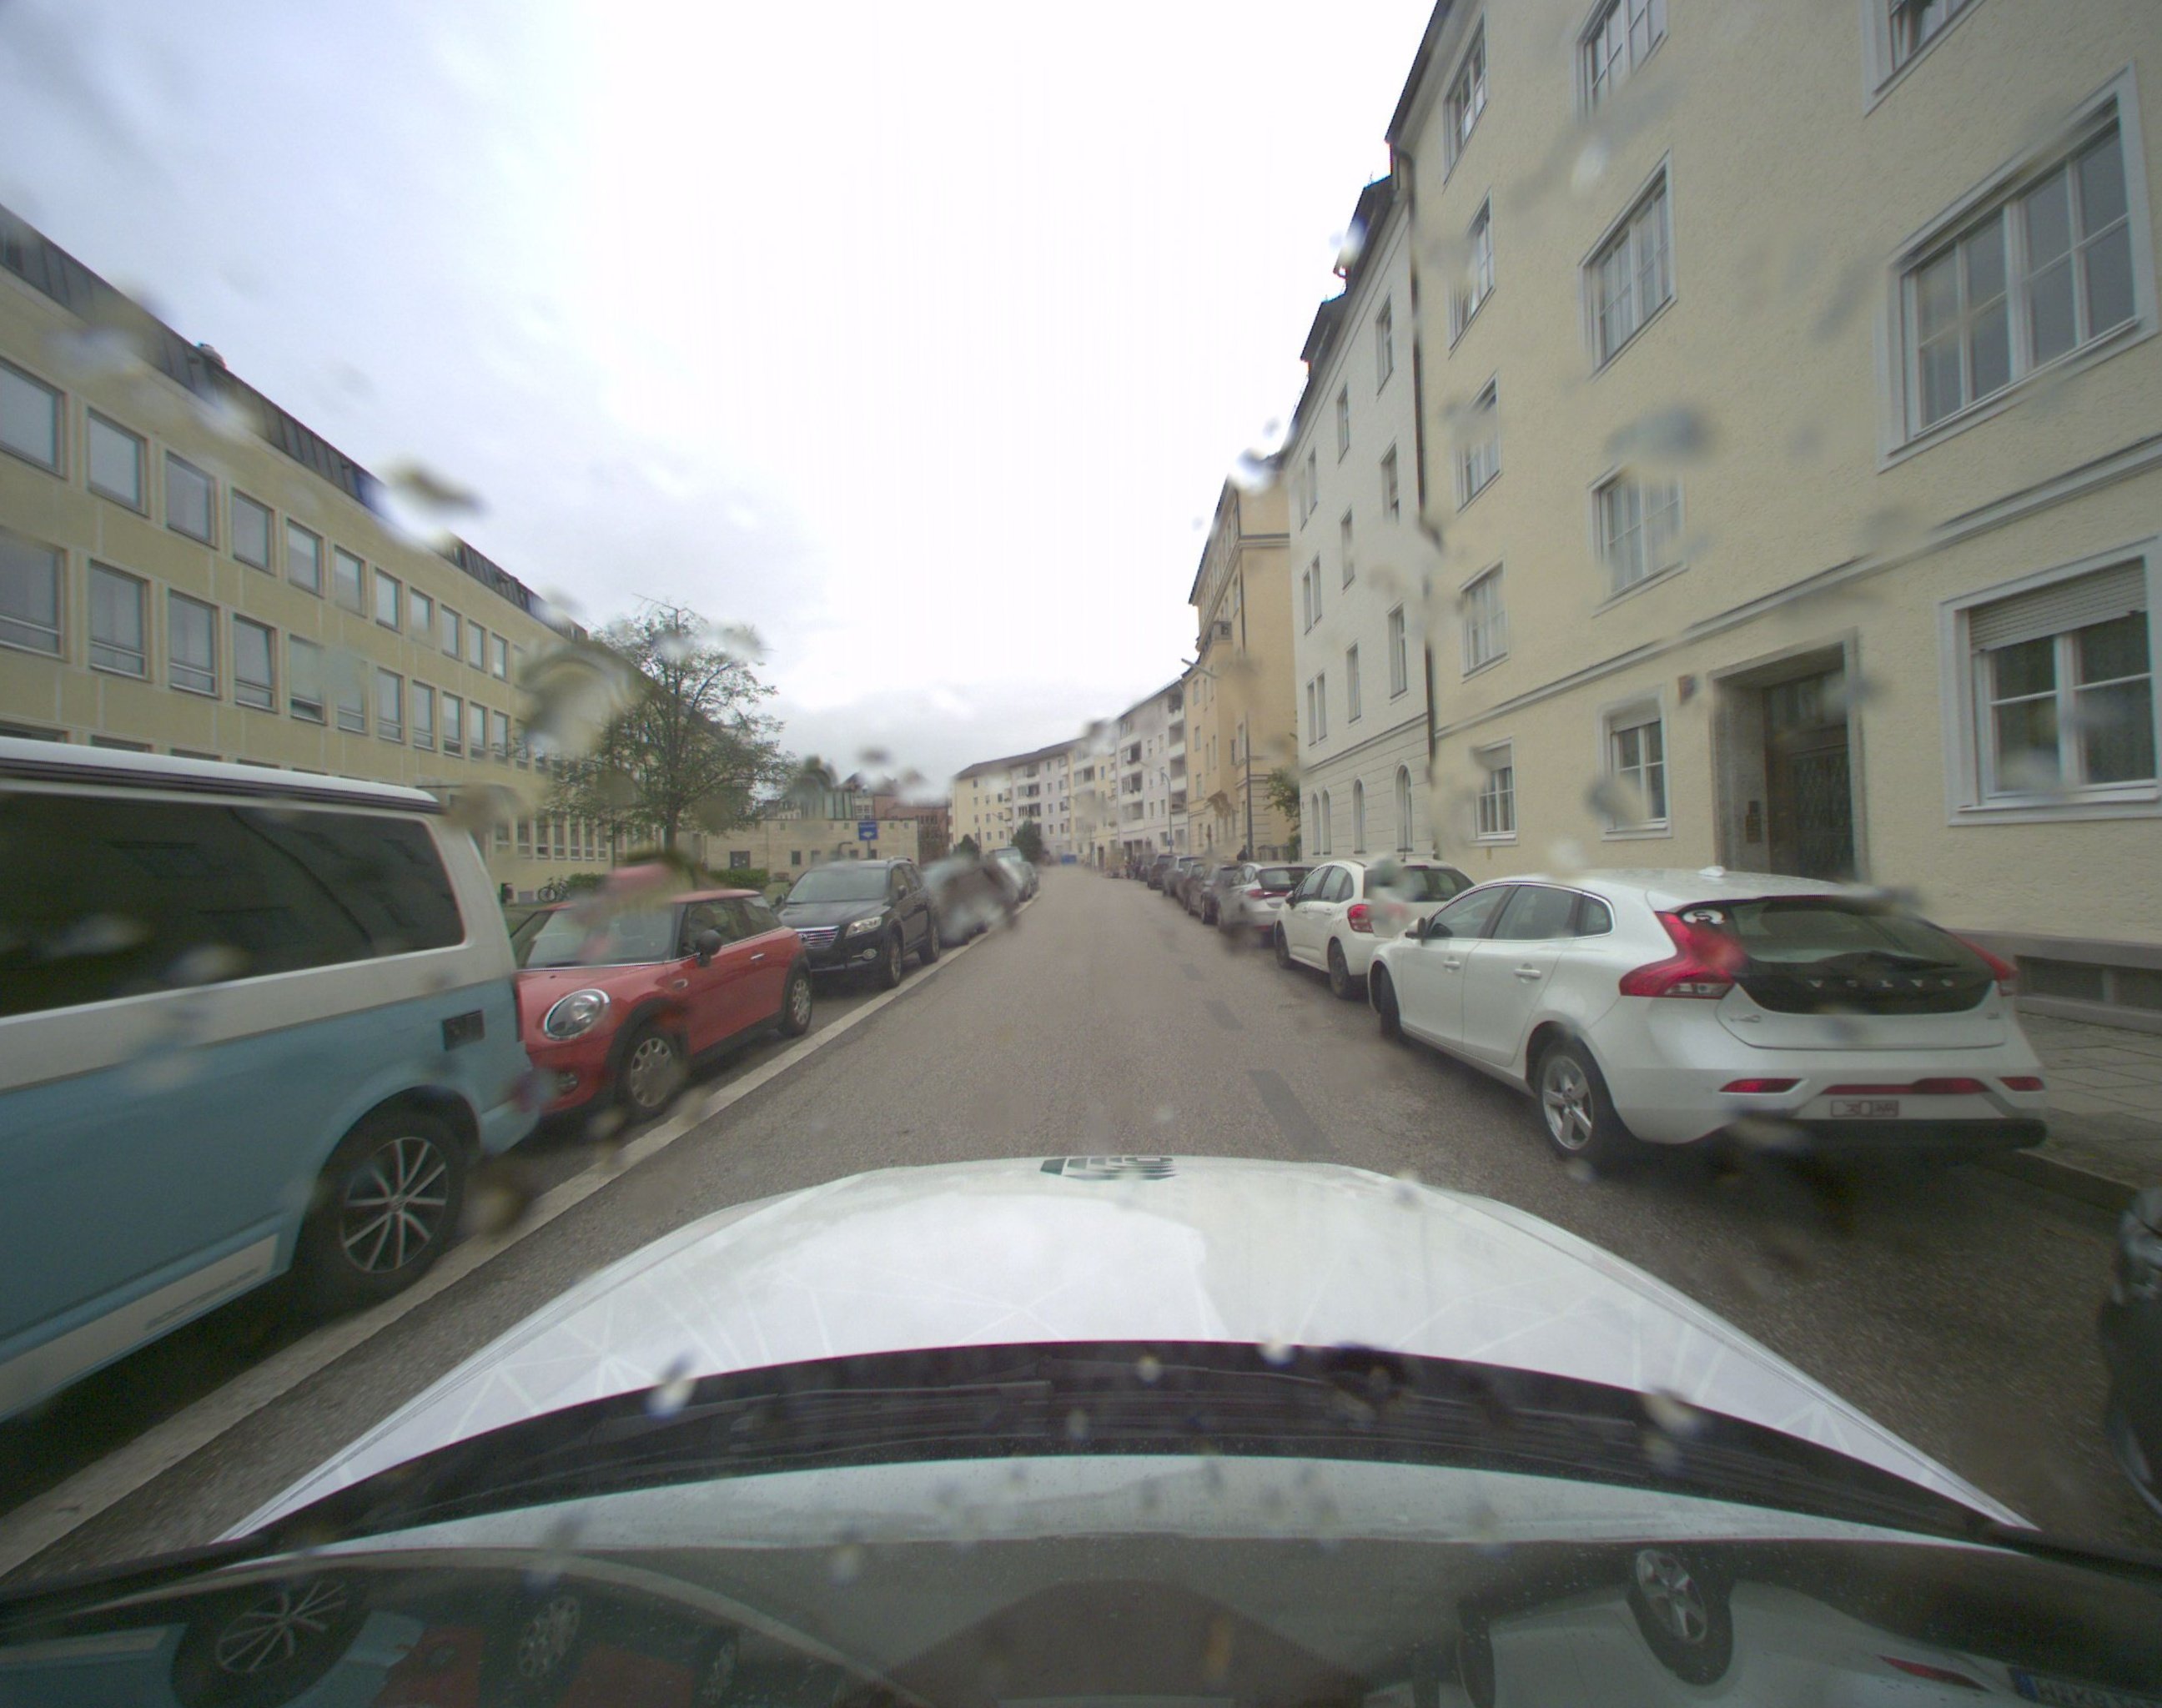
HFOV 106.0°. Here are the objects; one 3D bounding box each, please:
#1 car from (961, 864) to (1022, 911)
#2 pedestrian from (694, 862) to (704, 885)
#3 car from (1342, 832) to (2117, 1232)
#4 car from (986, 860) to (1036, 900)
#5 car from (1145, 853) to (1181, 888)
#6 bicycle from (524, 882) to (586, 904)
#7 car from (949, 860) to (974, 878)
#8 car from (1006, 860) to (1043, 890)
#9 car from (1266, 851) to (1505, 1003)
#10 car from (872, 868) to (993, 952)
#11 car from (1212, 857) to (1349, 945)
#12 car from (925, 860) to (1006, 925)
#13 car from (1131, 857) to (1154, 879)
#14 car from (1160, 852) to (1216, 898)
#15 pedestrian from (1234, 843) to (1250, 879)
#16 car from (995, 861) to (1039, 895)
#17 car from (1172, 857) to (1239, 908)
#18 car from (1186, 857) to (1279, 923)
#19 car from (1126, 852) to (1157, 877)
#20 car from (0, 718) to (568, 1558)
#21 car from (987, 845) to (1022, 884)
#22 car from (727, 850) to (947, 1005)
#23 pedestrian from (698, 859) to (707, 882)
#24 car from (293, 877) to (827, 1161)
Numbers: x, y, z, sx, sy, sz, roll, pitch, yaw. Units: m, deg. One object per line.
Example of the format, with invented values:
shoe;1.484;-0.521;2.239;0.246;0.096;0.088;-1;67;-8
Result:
car;-2.983;1.105;27.905;1.619;1.419;3.979;-3;-1;-1
pedestrian;-28.683;1.449;61.175;0.673;1.736;0.637;1;-2;-24
car;3.223;0.694;5.331;1.686;1.491;4.284;-3;0;1
car;-2.804;1.027;33.269;1.618;1.419;3.981;-3;-1;0
car;3.995;0.792;40.102;1.469;1.641;4.001;-1;0;1
bicycle;-22.855;1.689;35.399;2.210;0.835;0.492;-2;-2;-17
car;-11.871;1.491;80.618;1.607;1.648;3.114;1;-1;-26
car;-2.920;1.071;42.671;1.618;1.419;3.647;-3;-1;0
car;3.507;0.743;10.126;1.593;1.491;3.800;-2;0;1
car;-2.932;1.061;16.859;1.618;1.412;3.800;-4;-1;1
car;3.602;0.813;15.391;1.686;1.433;3.945;-1;-1;1
car;-3.029;0.987;22.096;1.619;1.508;3.979;-3;-1;-1
car;3.916;0.890;51.777;1.267;1.299;2.797;-2;-1;1
car;3.912;0.732;30.425;1.585;1.582;4.299;-1;0;1
pedestrian;7.537;0.339;38.135;0.664;1.693;0.690;0;-2;2
car;-2.921;1.090;37.796;1.618;1.419;3.981;-3;-1;0
car;3.790;0.828;25.324;1.585;1.432;3.826;-1;0;1
car;3.640;0.817;20.242;1.585;1.432;4.422;-1;0;1
car;4.192;0.718;56.877;1.600;1.715;3.081;-1;-1;-7
car;-3.457;0.701;1.611;1.877;1.931;4.599;-4;-1;-1
car;-5.501;0.760;58.103;1.774;2.654;3.978;-1;0;-16
car;-3.191;0.873;11.540;1.695;1.691;4.029;-4;-1;1
pedestrian;-28.973;1.279;62.310;0.602;1.736;0.657;1;-2;-29
car;-3.455;0.965;6.329;1.646;1.373;3.653;-4;-1;1
